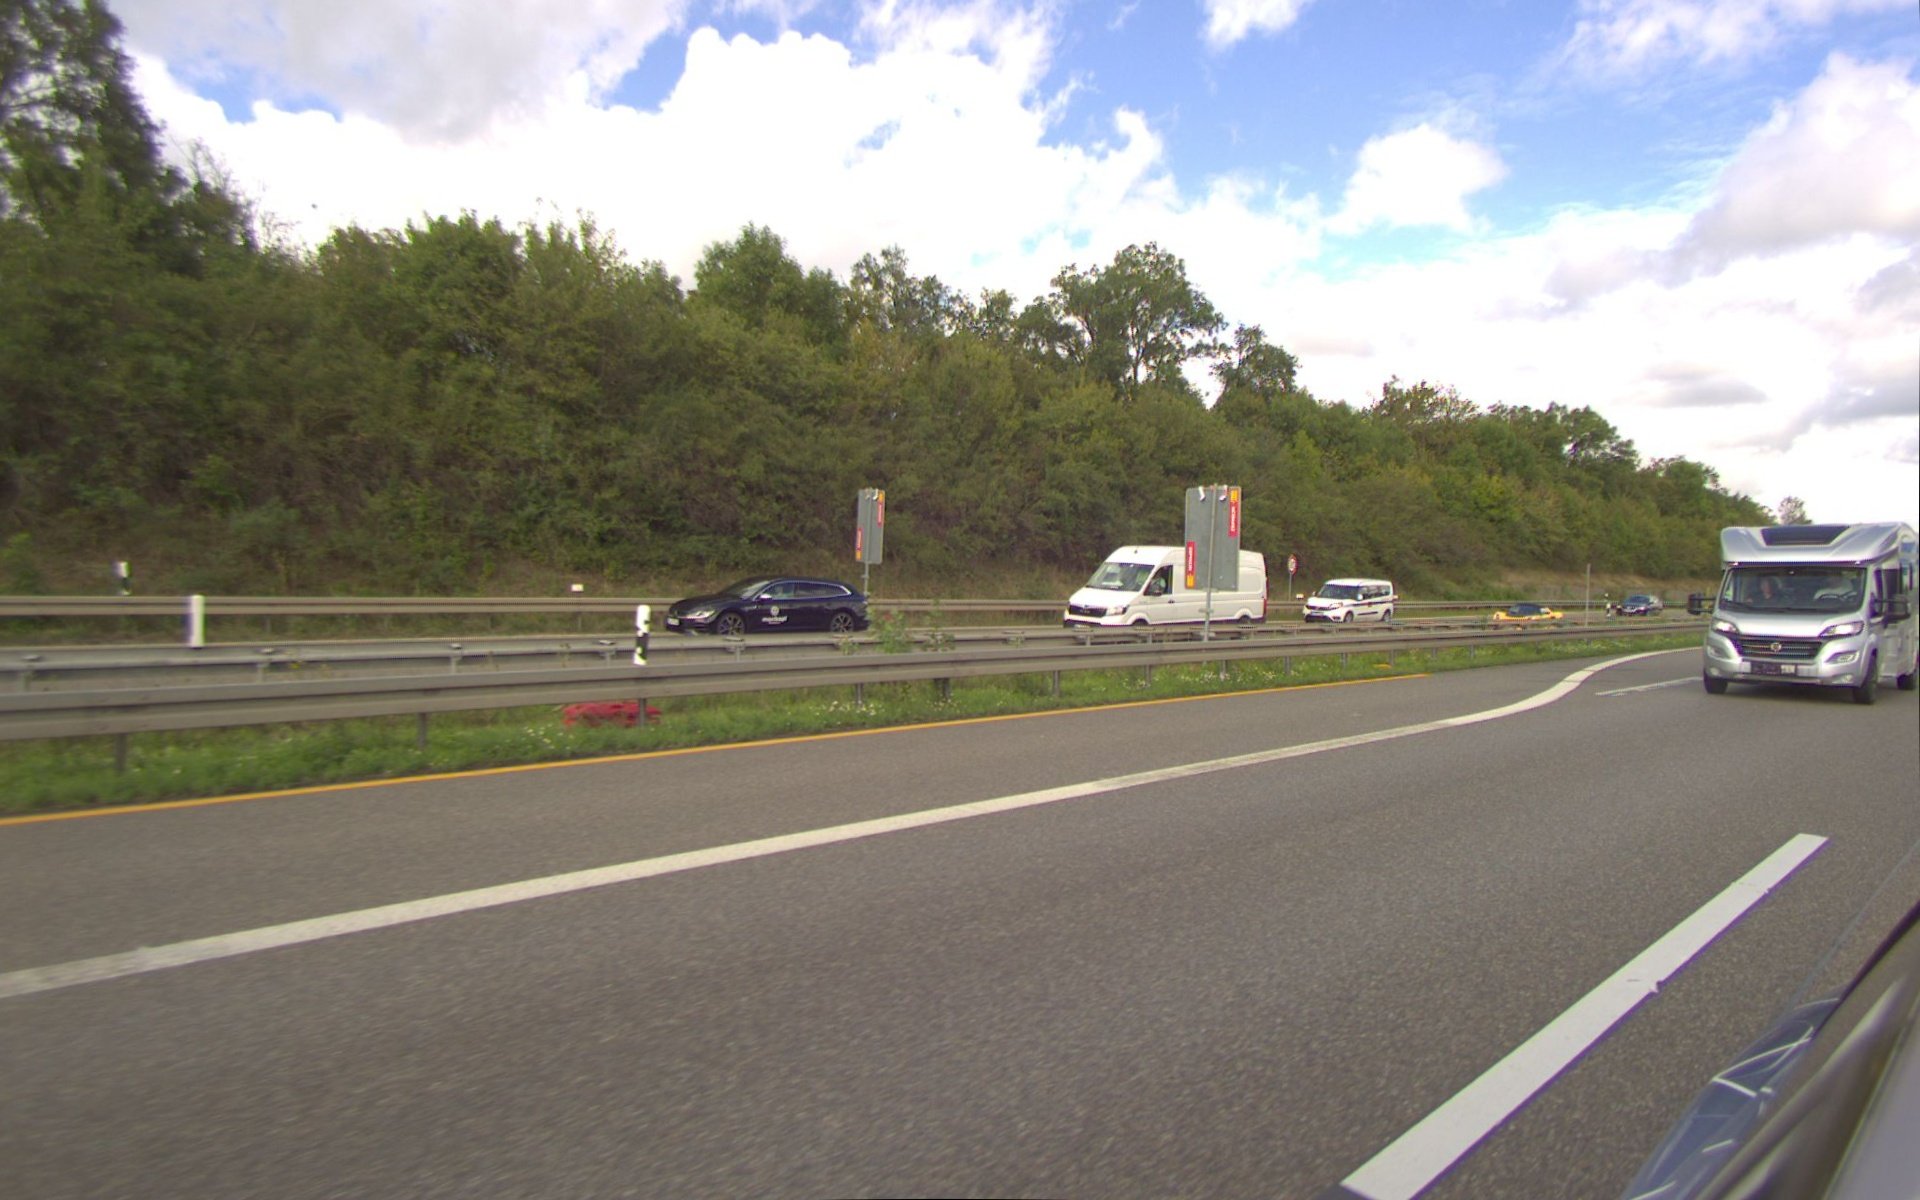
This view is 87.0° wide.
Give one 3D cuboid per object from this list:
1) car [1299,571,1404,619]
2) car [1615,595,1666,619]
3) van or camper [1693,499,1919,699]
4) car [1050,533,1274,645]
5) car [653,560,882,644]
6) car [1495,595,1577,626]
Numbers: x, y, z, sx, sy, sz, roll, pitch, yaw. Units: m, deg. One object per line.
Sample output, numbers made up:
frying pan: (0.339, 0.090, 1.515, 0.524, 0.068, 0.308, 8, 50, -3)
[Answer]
car: (15.389, -0.195, 39.678, 4.680, 1.774, 1.846, 0, 0, -41)
car: (44.351, 0.454, 65.907, 4.095, 1.433, 1.715, 0, 1, -41)
van or camper: (15.092, -0.019, 17.372, 7.528, 2.756, 2.473, 0, 0, -41)
car: (5.424, -0.278, 26.389, 6.625, 2.586, 2.074, 0, 1, -41)
car: (-4.156, 0.016, 22.349, 4.682, 1.622, 1.847, 0, 3, -42)
car: (23.689, 0.417, 41.564, 4.096, 1.196, 1.714, 0, 0, -42)
